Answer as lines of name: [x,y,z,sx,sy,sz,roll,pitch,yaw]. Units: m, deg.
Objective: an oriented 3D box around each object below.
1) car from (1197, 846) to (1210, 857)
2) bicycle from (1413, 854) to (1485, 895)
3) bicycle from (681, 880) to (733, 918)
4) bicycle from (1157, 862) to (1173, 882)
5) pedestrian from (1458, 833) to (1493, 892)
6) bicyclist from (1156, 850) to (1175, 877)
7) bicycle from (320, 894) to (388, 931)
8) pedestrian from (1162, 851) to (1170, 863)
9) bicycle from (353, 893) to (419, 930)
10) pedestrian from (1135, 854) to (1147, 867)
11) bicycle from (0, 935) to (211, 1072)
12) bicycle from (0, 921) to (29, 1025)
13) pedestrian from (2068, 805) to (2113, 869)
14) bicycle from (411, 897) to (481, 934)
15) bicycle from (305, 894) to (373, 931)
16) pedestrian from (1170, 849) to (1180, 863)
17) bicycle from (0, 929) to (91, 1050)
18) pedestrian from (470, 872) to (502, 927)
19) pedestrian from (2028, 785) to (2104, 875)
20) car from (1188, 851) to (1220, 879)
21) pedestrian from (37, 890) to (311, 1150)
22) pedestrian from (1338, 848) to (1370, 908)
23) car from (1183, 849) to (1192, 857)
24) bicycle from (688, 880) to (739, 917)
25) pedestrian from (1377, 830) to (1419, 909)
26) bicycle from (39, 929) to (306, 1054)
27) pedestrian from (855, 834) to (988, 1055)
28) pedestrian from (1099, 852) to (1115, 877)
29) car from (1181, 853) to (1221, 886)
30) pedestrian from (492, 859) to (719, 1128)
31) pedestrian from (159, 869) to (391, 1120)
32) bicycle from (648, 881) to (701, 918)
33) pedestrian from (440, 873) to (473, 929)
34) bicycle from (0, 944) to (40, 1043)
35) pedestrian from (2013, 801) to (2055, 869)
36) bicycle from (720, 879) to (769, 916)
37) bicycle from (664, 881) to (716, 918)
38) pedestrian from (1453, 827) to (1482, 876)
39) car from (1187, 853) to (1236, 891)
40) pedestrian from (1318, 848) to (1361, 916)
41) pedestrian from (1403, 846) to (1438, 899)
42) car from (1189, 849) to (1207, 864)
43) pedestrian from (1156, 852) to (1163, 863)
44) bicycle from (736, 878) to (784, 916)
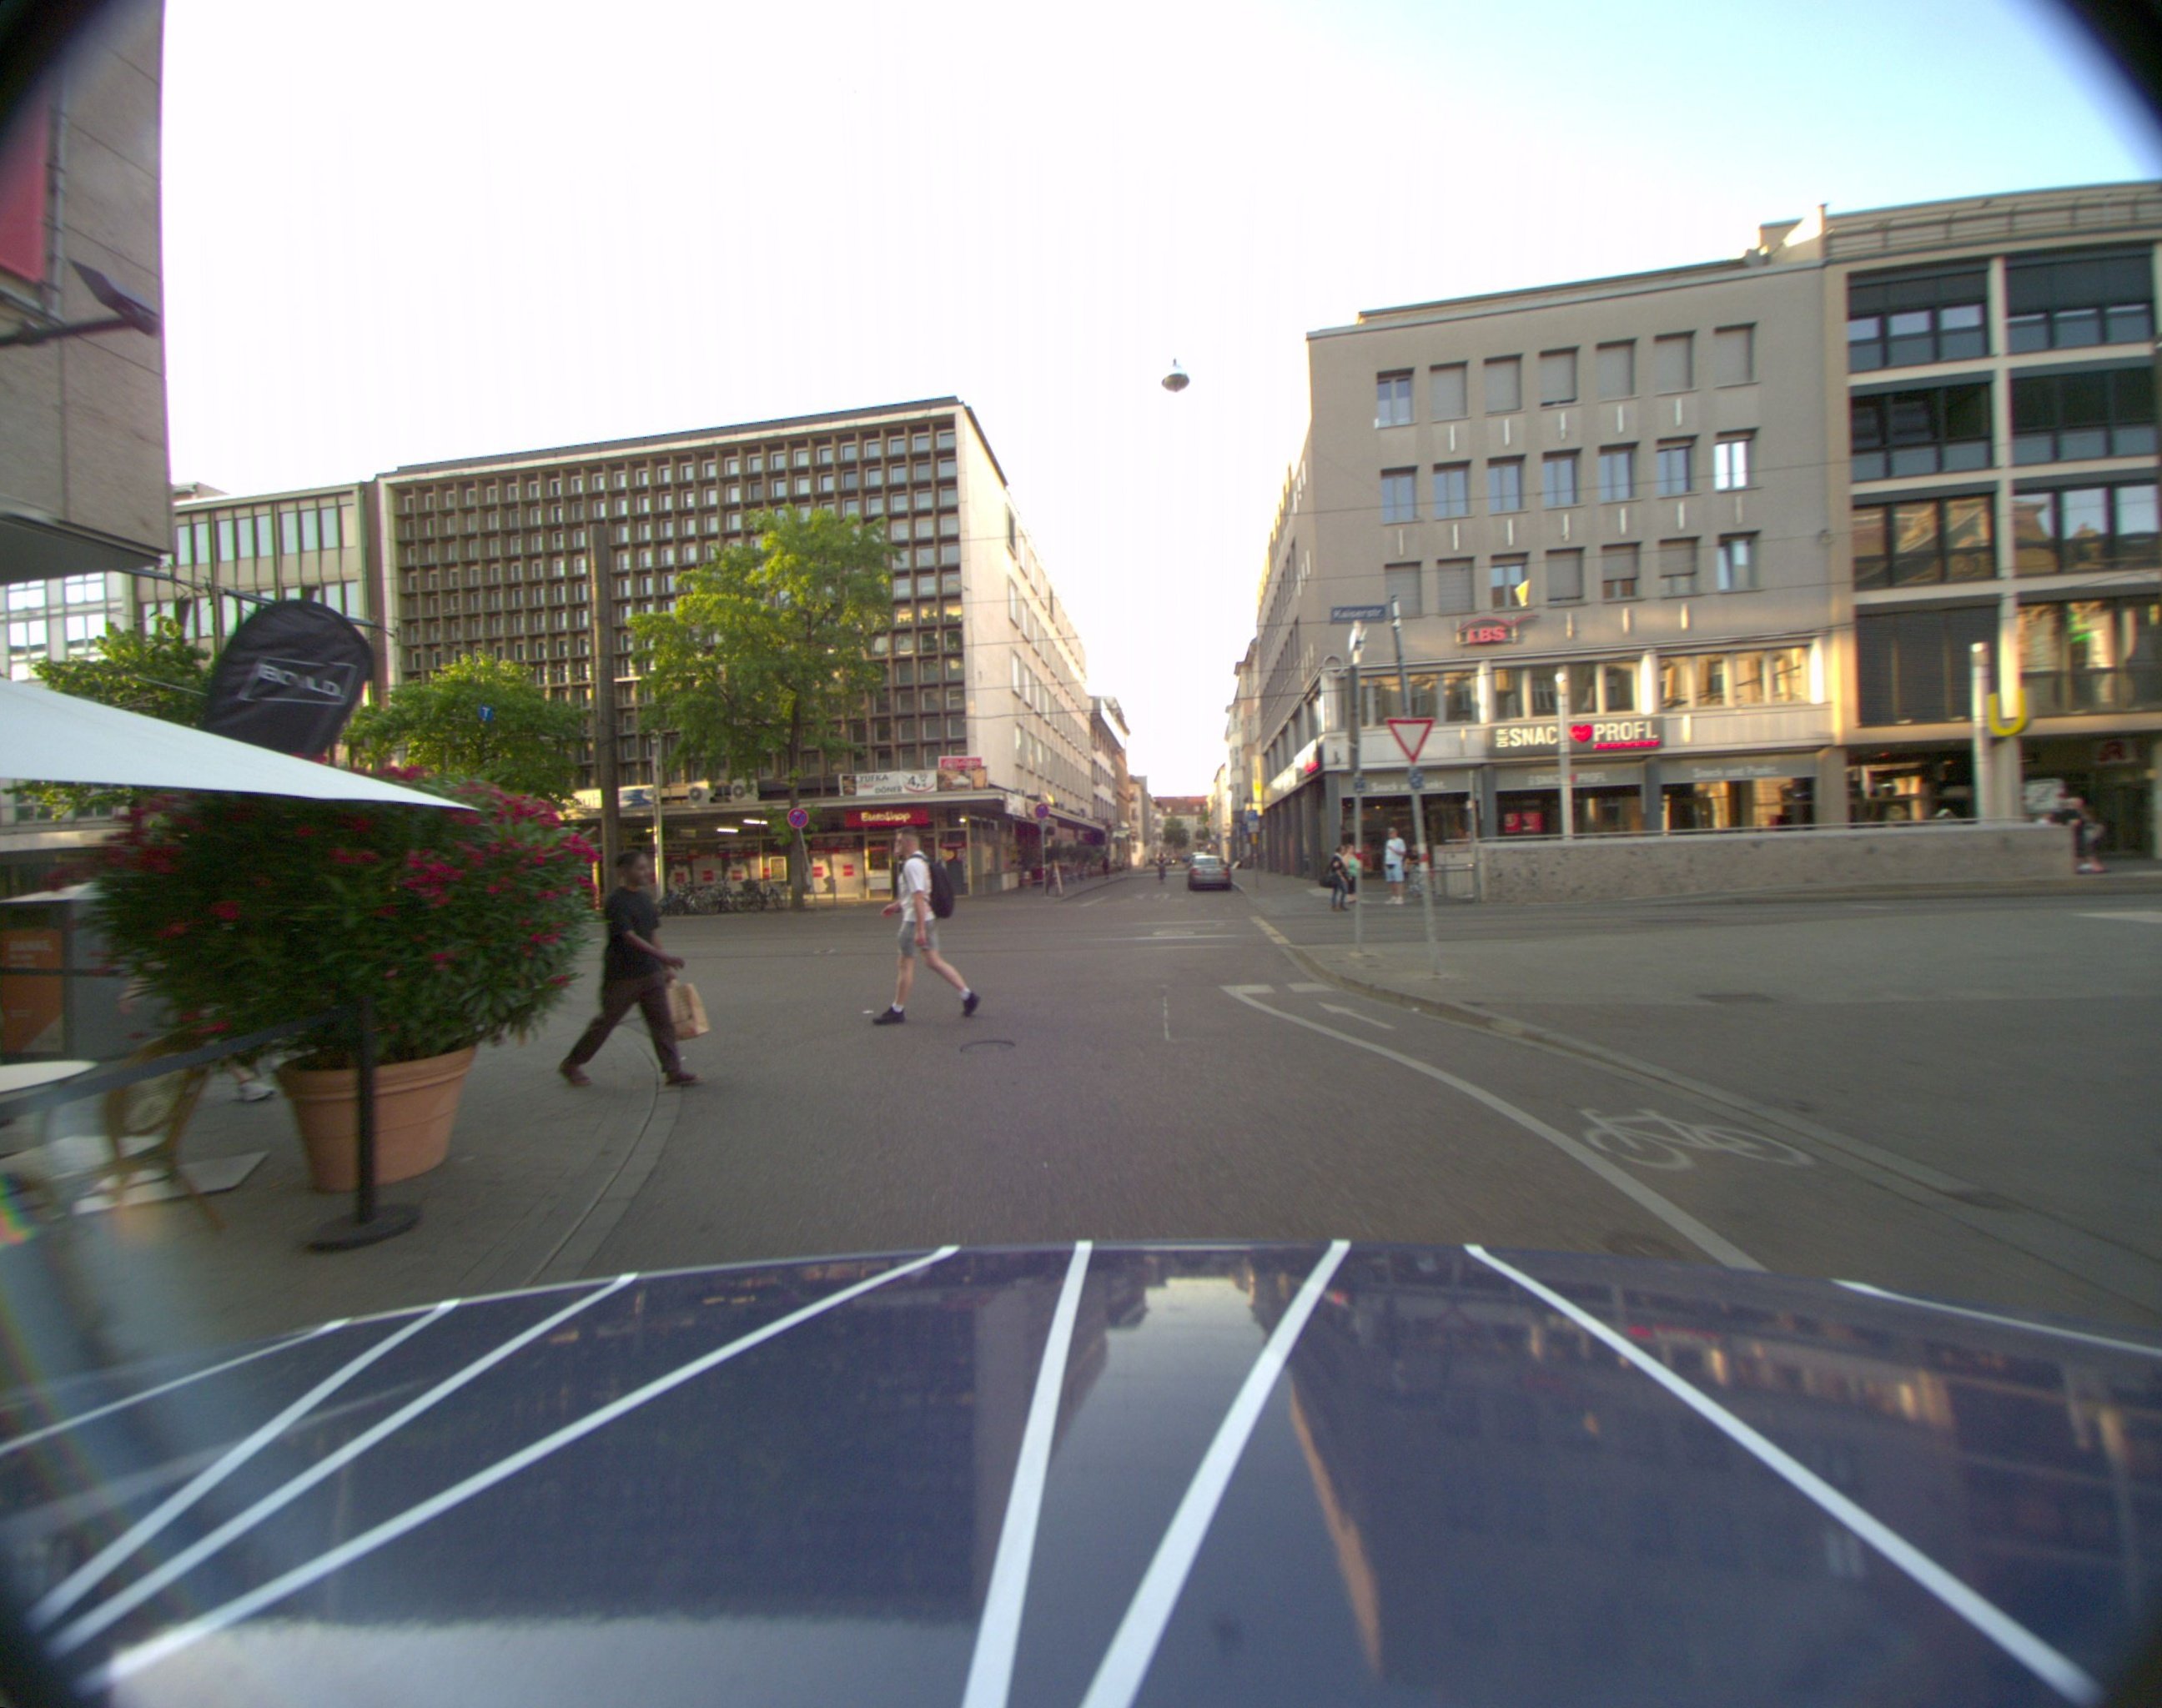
car: [18.111,-0.420,111.944,1.797,1.501,4.003,-2,0,10]
bicycle: [10.811,0.607,22.375,1.797,1.101,0.500,-4,0,14]
bicycle: [-12.062,1.427,24.562,0.489,1.039,1.778,-3,2,9]
bicycle: [4.829,1.008,43.402,0.816,1.067,2.115,-2,-1,8]
pedestrian: [11.795,0.241,22.740,0.708,1.715,0.716,-1,0,7]
bicyclist: [4.814,0.546,43.424,0.999,1.493,0.858,-2,-1,8]
bicycle: [-25.294,2.006,26.471,0.489,1.065,1.777,-3,2,3]
pedestrian: [12.493,0.455,111.601,0.976,1.651,0.979,-3,0,9]
bicycle: [-24.061,1.964,26.342,0.489,1.065,1.777,-3,2,3]
pedestrian: [7.619,0.853,96.790,1.298,1.651,1.015,-3,1,11]
bicycle: [-10.023,1.441,7.471,0.666,1.102,1.860,-2,-1,6]
bicycle: [-14.266,1.523,9.055,0.725,1.324,1.922,-2,-2,4]
pedestrian: [25.104,-0.415,18.897,0.606,1.579,0.626,-2,1,-34]
bicycle: [-19.622,1.890,23.484,1.775,1.039,0.489,-3,1,6]
bicycle: [-25.867,2.026,26.535,0.489,1.065,1.777,-3,2,3]
pedestrian: [11.388,0.267,91.790,0.869,1.651,0.932,-3,1,23]
bicycle: [-11.710,1.445,7.711,0.762,1.215,1.922,-2,-2,4]
pedestrian: [-18.922,1.431,24.157,0.534,1.689,0.604,-2,1,38]
pedestrian: [21.611,-0.514,16.686,0.709,1.914,0.716,-1,0,4]
car: [7.293,0.634,44.966,1.797,1.501,4.003,-2,0,10]
pedestrian: [-5.898,1.028,4.994,0.809,1.527,0.805,-2,0,4]
pedestrian: [6.915,0.599,19.252,0.555,1.485,0.605,-1,0,1]
car: [21.787,-0.151,155.224,1.797,1.501,4.003,-2,0,10]
bicycle: [-11.823,1.415,24.524,0.489,1.039,1.778,-3,2,9]
pedestrian: [7.955,0.383,19.099,0.709,1.915,0.775,-1,0,1]
bicycle: [-10.113,1.479,8.586,0.666,1.102,1.860,-2,-1,6]
pedestrian: [-1.428,0.769,7.048,1.042,1.852,1.016,-2,1,-6]
pedestrian: [1.770,0.703,51.310,0.870,1.651,0.931,-3,0,11]
car: [6.073,0.741,38.826,1.798,1.501,4.135,-2,0,6]
pedestrian: [-3.252,0.910,5.293,0.996,1.688,0.772,-3,1,0]
pedestrian: [-5.877,0.972,5.591,0.809,1.684,0.805,-2,0,4]
bicycle: [-13.201,1.466,24.707,0.489,1.039,1.778,-3,2,9]
pedestrian: [-19.537,1.459,23.772,0.534,1.689,0.604,-2,1,38]
bicycle: [-12.443,1.552,7.822,0.762,1.071,1.922,-2,-2,4]
pedestrian: [24.581,-0.469,19.594,0.606,1.715,0.626,-2,1,-35]
bicycle: [-10.776,1.376,24.370,0.489,1.039,1.778,-3,2,9]
bicycle: [-12.637,1.450,24.622,0.489,1.039,1.778,-3,2,9]
pedestrian: [13.811,-0.075,27.150,0.708,1.715,0.716,-1,0,7]
car: [5.575,0.733,32.860,1.798,1.501,4.135,-2,0,6]
pedestrian: [6.042,0.638,17.756,0.606,1.533,0.684,-2,1,-33]
pedestrian: [9.338,0.503,20.903,0.556,1.425,0.683,-2,1,-44]
car: [11.992,0.244,77.747,1.797,1.501,4.003,-2,0,10]
pedestrian: [11.536,0.487,111.809,0.870,1.651,0.931,-3,0,9]
bicycle: [-10.208,1.363,24.250,0.489,1.039,1.778,-3,2,9]
